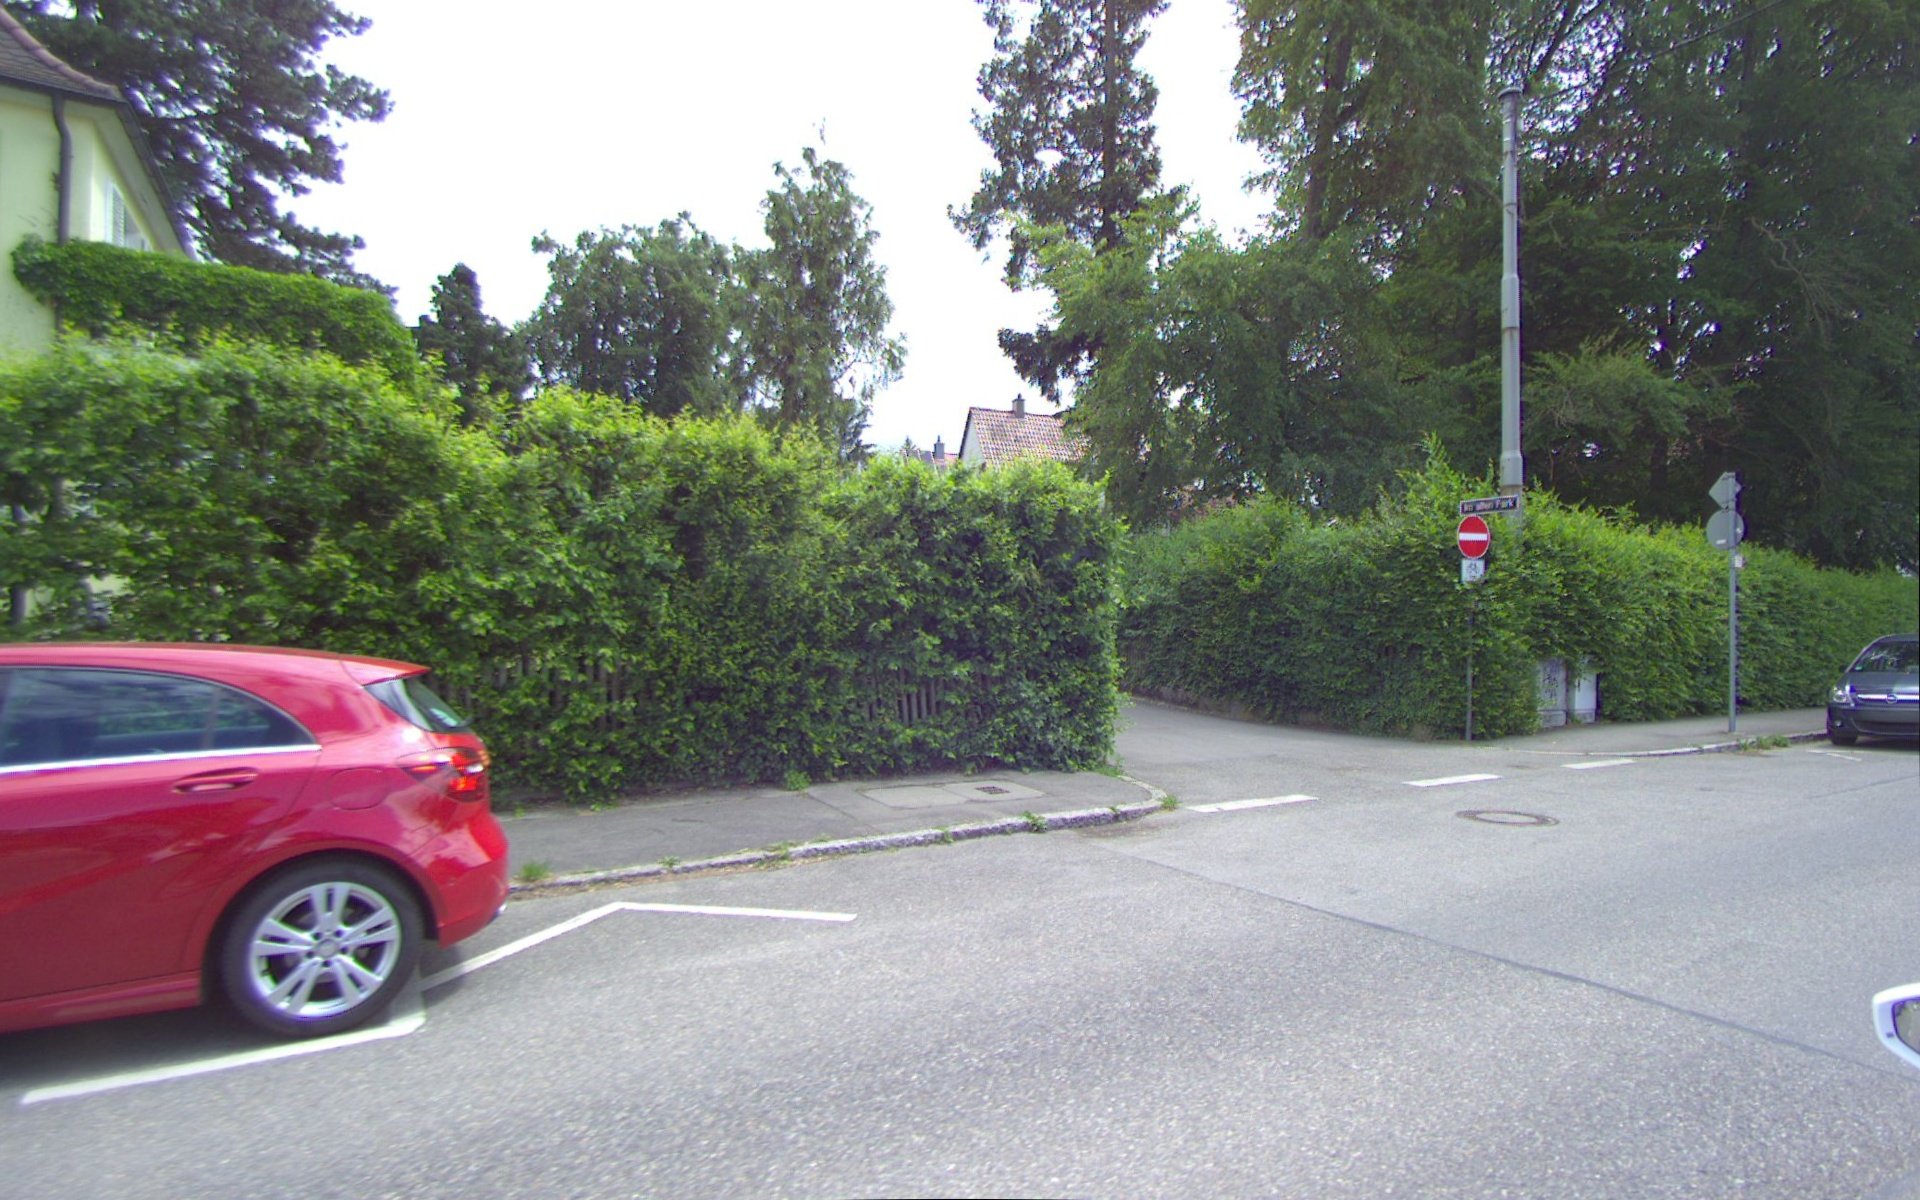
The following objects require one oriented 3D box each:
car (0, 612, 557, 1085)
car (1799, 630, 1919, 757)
[{"bbox_3d":[-3.843,0.803,3.715,4.139,1.490,1.752,1,-2,-32],"label":"car"},{"bbox_3d":[14.041,1.265,14.514,4.139,1.647,1.752,1,-2,-32],"label":"car"}]
